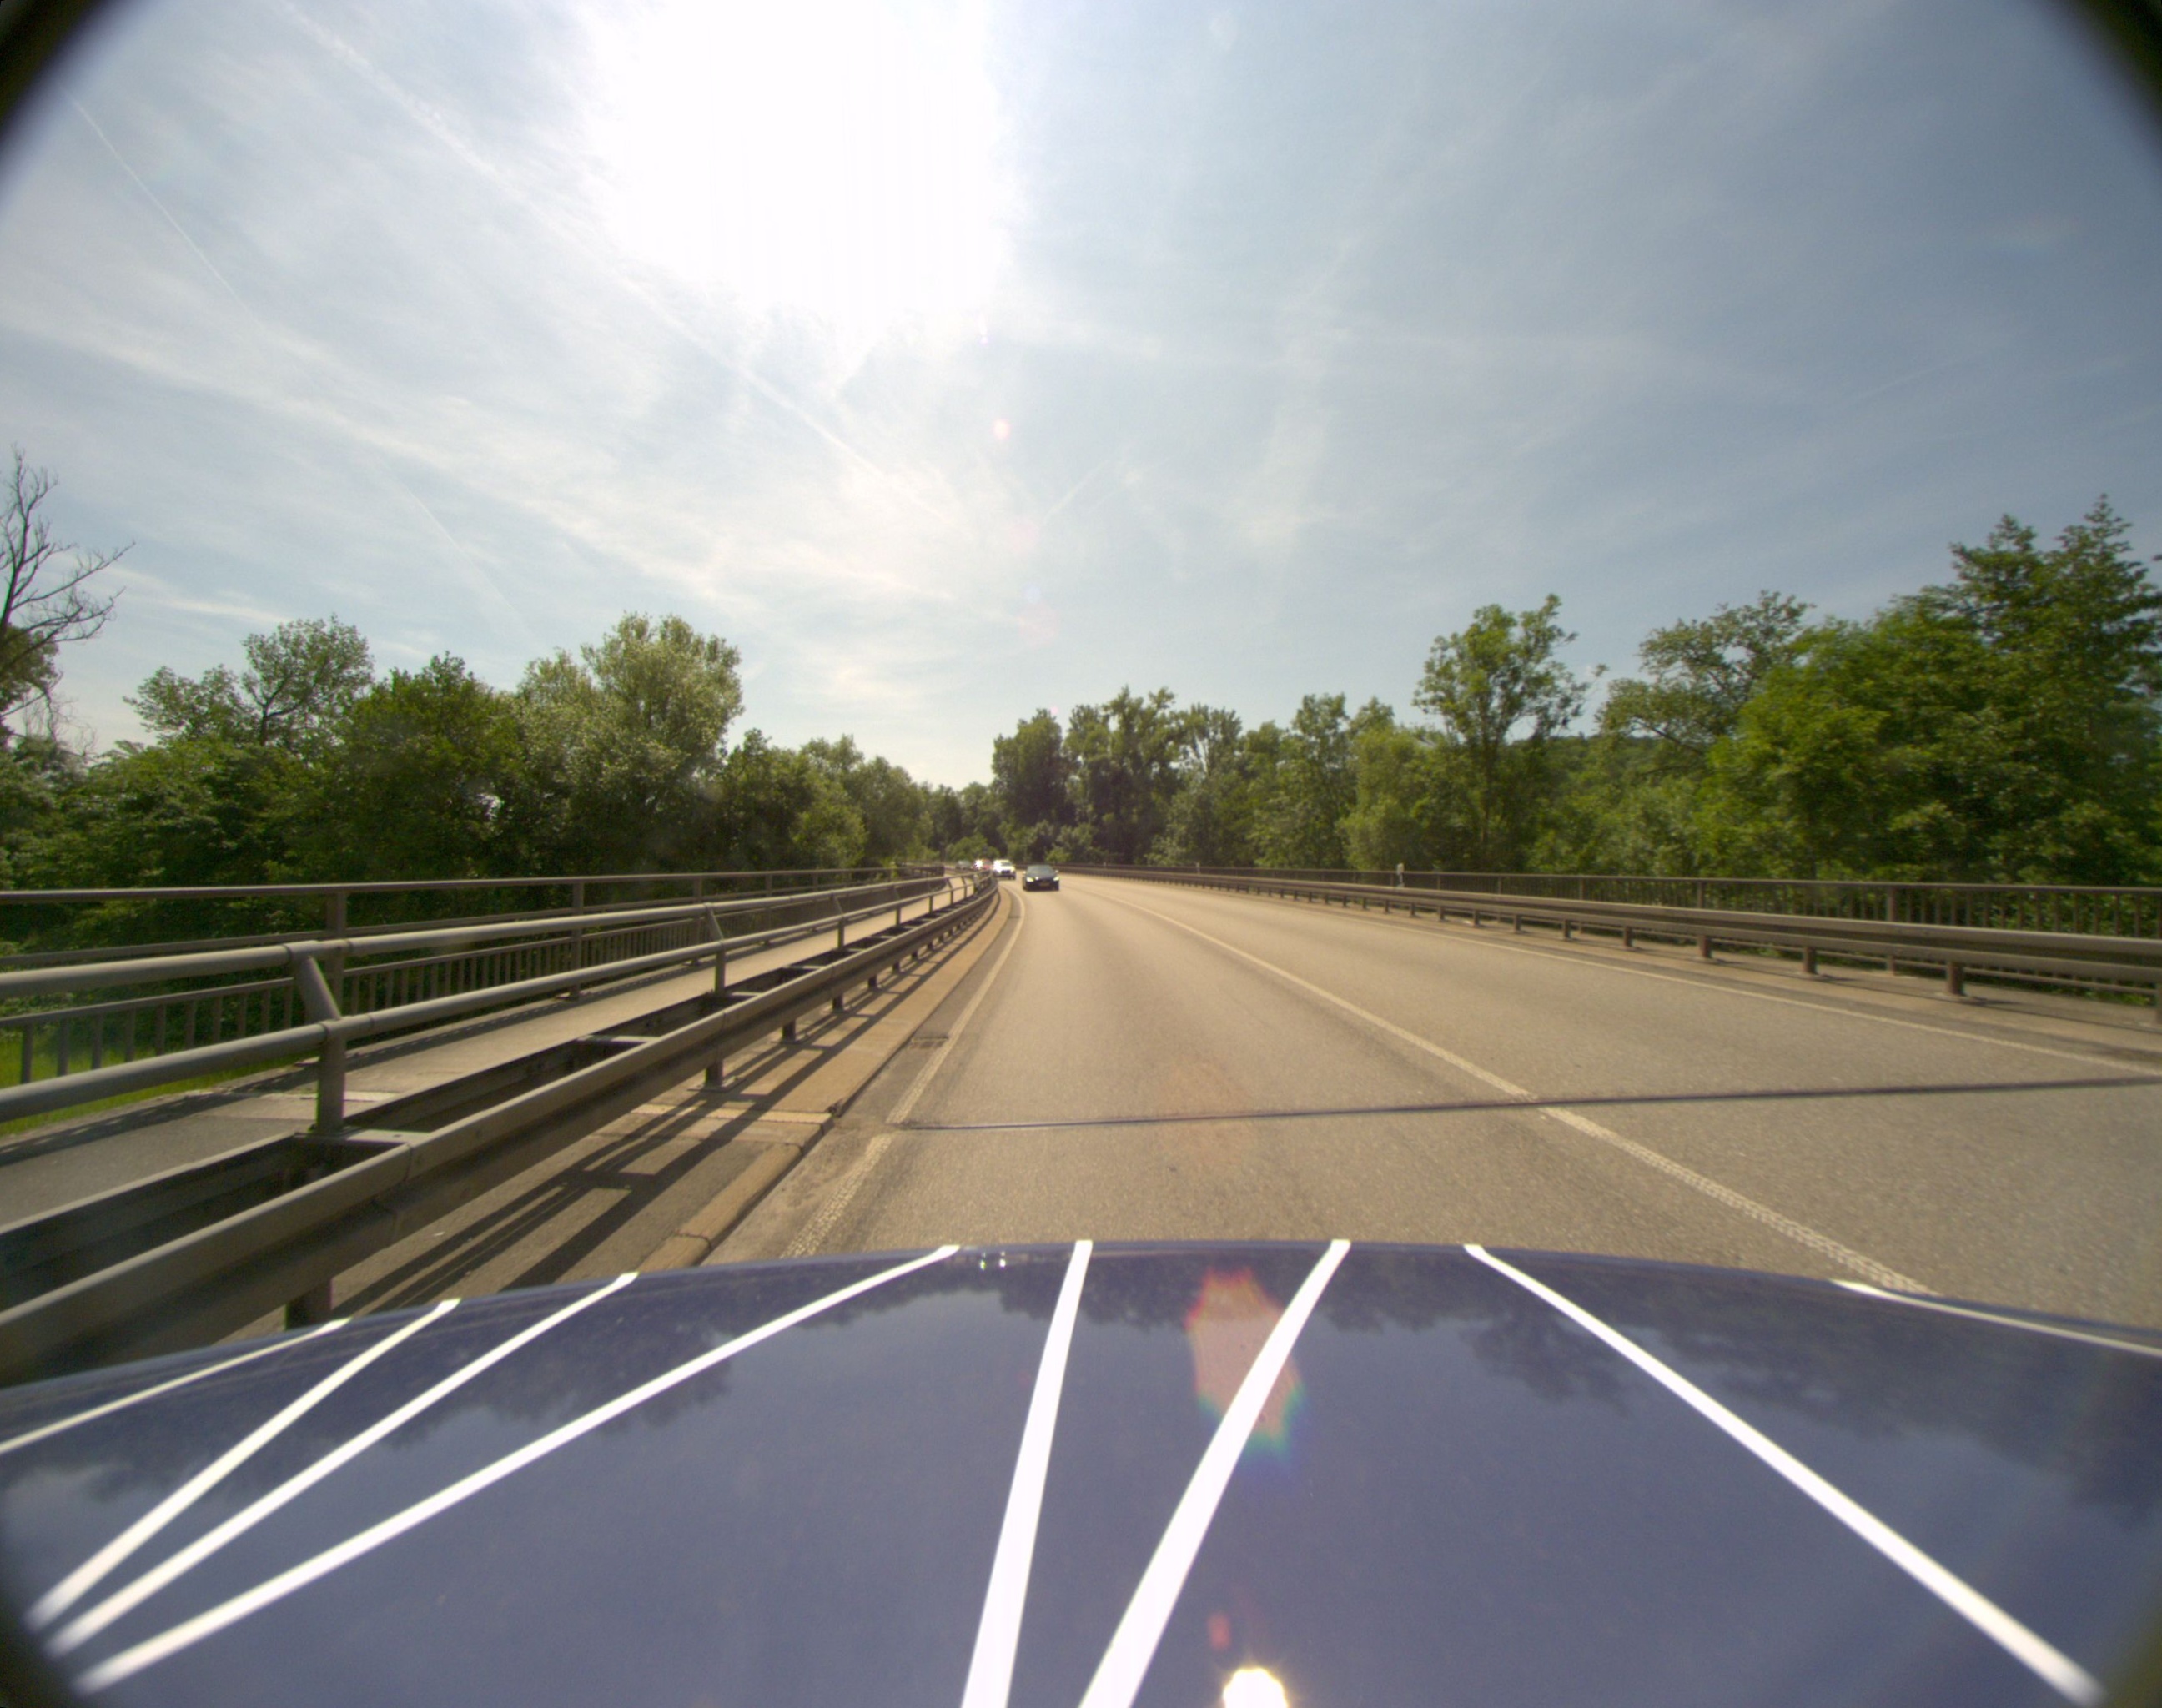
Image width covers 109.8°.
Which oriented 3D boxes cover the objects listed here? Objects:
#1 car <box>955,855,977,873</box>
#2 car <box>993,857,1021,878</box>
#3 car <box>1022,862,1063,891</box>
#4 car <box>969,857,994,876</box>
[{"bbox_3d":[-14.143,1.212,93.148,2.001,2.002,3.994,-2,1,-18],"label":"car"},{"bbox_3d":[-6.362,1.147,64.944,1.911,1.638,3.946,-2,1,-13],"label":"car"},{"bbox_3d":[-2.202,1.193,42.144,1.910,1.413,3.947,-2,0,-8],"label":"car"},{"bbox_3d":[-10.260,1.294,78.191,2.001,1.764,3.996,-2,-2,-15],"label":"car"}]
